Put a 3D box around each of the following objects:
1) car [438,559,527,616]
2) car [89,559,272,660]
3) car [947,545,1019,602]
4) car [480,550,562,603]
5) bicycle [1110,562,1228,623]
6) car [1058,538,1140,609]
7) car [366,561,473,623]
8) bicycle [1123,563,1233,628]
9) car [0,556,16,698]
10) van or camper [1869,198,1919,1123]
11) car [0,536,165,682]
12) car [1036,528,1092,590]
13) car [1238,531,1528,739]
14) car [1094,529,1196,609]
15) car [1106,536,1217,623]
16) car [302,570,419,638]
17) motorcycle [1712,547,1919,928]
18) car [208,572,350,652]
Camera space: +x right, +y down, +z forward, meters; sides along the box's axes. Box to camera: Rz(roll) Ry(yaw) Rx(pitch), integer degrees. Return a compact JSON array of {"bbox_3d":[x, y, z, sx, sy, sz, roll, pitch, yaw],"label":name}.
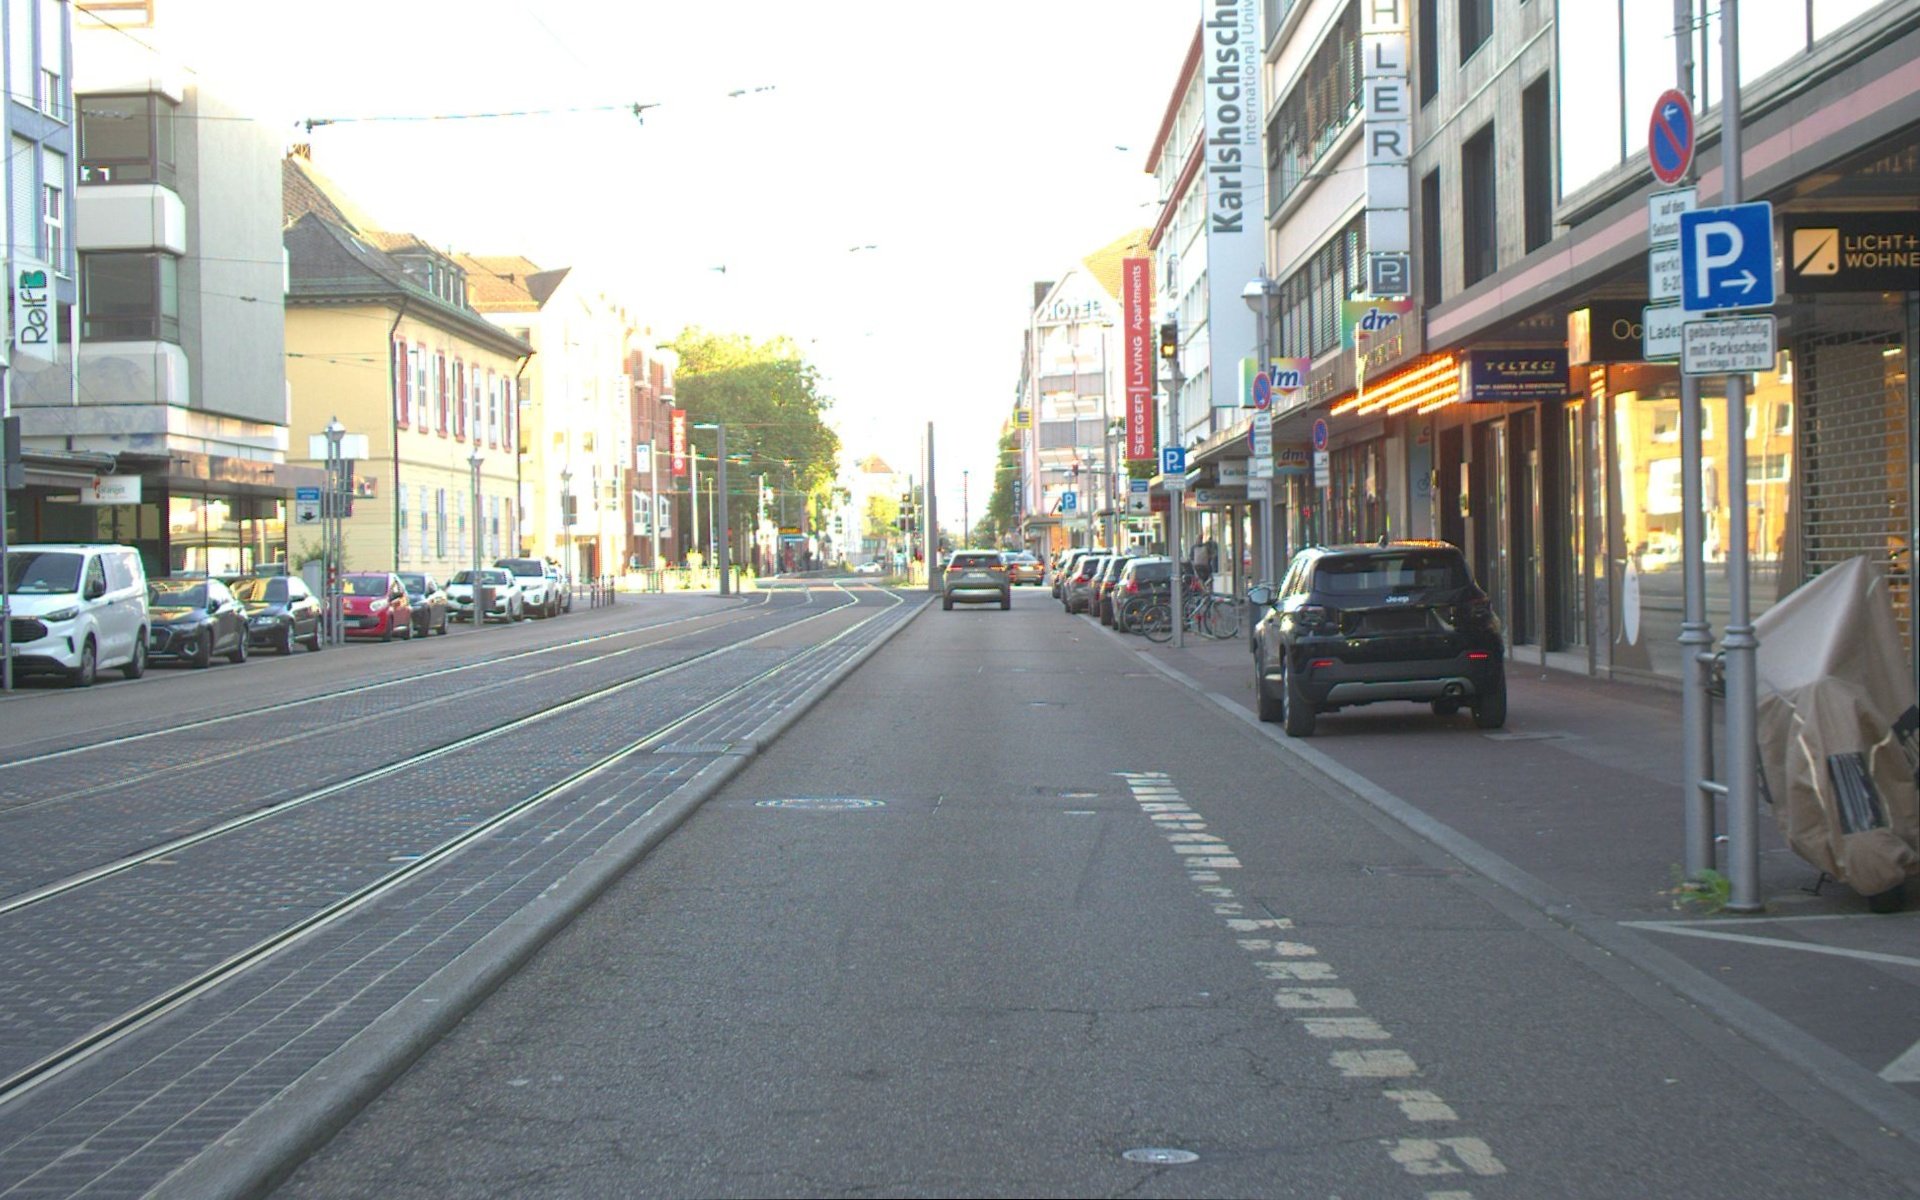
[{"bbox_3d":[-12.621,-0.346,91.088,1.791,1.444,3.892,1,1,0],"label":"car"},{"bbox_3d":[-12.638,0.126,56.033,1.917,1.516,4.630,1,1,0],"label":"car"},{"bbox_3d":[0.670,-0.767,95.842,1.944,1.539,4.544,0,1,1],"label":"car"},{"bbox_3d":[-12.375,-0.681,97.130,1.791,1.444,3.892,1,1,0],"label":"car"},{"bbox_3d":[3.871,-0.143,63.666,2.118,1.087,0.592,-1,1,-2],"label":"bicycle"},{"bbox_3d":[3.572,-0.706,88.887,1.944,1.697,4.544,-3,1,1],"label":"car"},{"bbox_3d":[-12.252,-0.200,78.104,1.791,1.334,3.892,1,1,0],"label":"car"},{"bbox_3d":[3.795,-0.087,59.915,1.869,1.087,0.545,-1,1,0],"label":"bicycle"},{"bbox_3d":[-12.844,0.335,40.897,1.917,1.757,4.430,1,1,1],"label":"car"},{"bbox_3d":[3.620,0.160,6.423,2.188,2.418,5.518,-3,1,-1],"label":"van or camper"},{"bbox_3d":[-12.816,0.075,48.628,1.917,1.929,4.842,1,1,1],"label":"car"},{"bbox_3d":[3.826,-1.527,127.376,1.944,2.138,4.544,-3,1,1],"label":"car"},{"bbox_3d":[3.518,0.238,29.369,1.944,1.539,4.544,-3,1,1],"label":"car"},{"bbox_3d":[3.897,-0.682,73.053,1.944,1.539,4.544,-3,1,1],"label":"car"},{"bbox_3d":[3.917,-0.429,67.464,1.944,1.539,4.544,-3,1,1],"label":"car"},{"bbox_3d":[-12.608,0.071,72.493,1.791,1.334,3.892,1,1,0],"label":"car"},{"bbox_3d":[3.608,0.516,14.176,0.813,1.412,2.004,-2,1,9],"label":"motorcycle"},{"bbox_3d":[-12.300,0.195,62.326,1.791,1.334,3.892,1,1,0],"label":"car"}]
